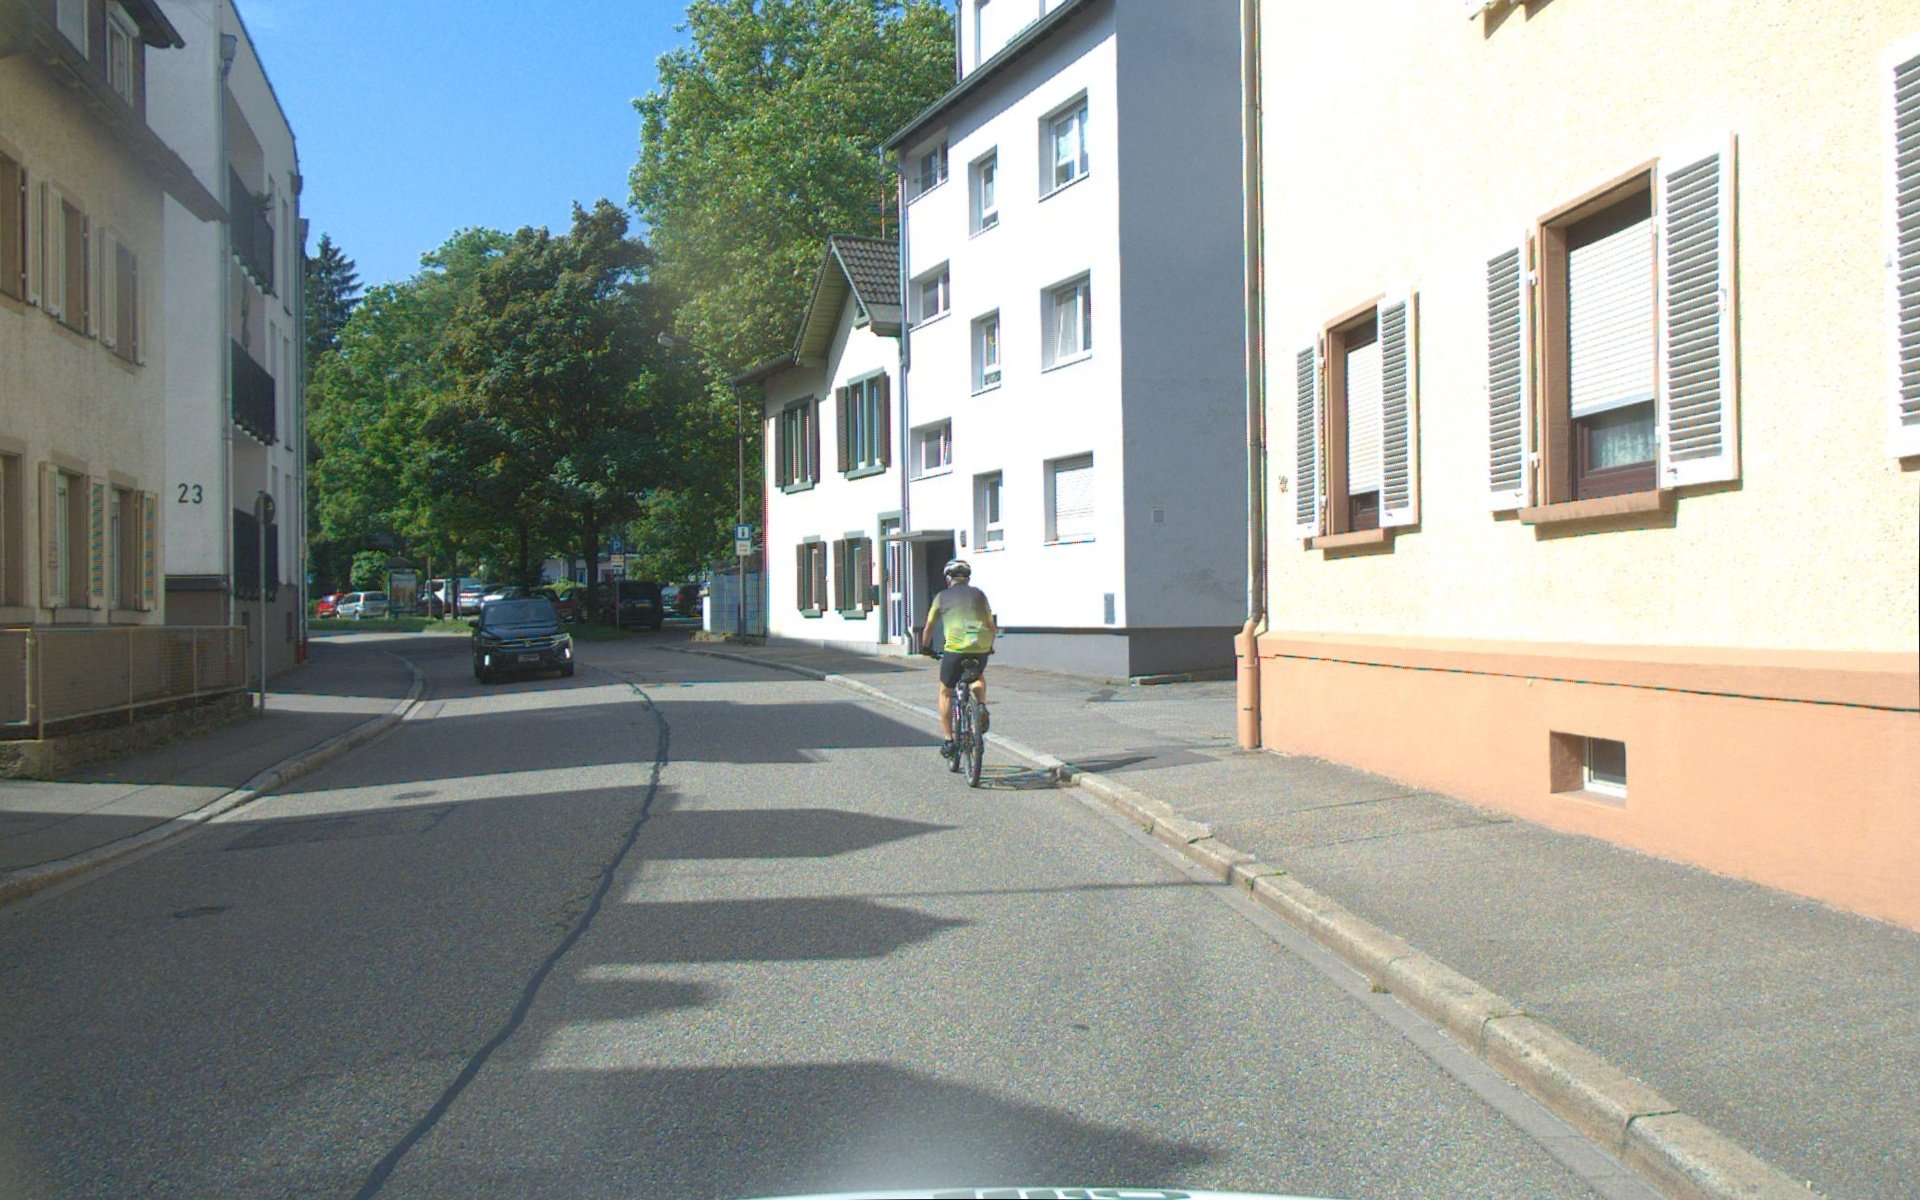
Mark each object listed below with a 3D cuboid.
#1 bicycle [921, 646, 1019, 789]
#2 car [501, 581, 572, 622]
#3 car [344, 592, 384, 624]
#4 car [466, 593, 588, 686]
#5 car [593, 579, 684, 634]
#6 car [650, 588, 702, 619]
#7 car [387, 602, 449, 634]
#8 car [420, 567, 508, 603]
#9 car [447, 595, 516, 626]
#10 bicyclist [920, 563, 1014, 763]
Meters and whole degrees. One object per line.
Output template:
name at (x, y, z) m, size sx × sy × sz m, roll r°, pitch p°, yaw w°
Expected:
bicycle at (0.059, 0.923, 13.443) m, size 0.685 × 1.053 × 1.470 m, roll 0°, pitch 0°, yaw -4°
car at (-17.571, 0.021, 68.593) m, size 1.692 × 1.569 × 3.955 m, roll -2°, pitch 2°, yaw -32°
car at (-30.493, 0.387, 84.569) m, size 1.720 × 1.579 × 3.727 m, roll -1°, pitch 0°, yaw -23°
car at (-8.570, 0.736, 32.544) m, size 1.798 × 1.563 × 3.975 m, roll -5°, pitch 1°, yaw -21°
car at (-11.367, 0.197, 58.271) m, size 1.805 × 1.822 × 3.955 m, roll -2°, pitch 2°, yaw -32°
car at (-12.333, 0.149, 71.615) m, size 1.559 × 1.279 × 3.835 m, roll -2°, pitch 1°, yaw -19°
car at (-26.417, 0.884, 80.556) m, size 1.664 × 1.493 × 3.357 m, roll -1°, pitch 0°, yaw -42°
car at (-27.352, -0.843, 91.356) m, size 1.955 × 1.887 × 4.695 m, roll -1°, pitch 0°, yaw 27°
car at (-25.348, 0.542, 87.757) m, size 1.771 × 1.579 × 4.003 m, roll -1°, pitch 0°, yaw 13°
bicyclist at (0.050, 0.501, 13.481) m, size 0.672 × 1.558 × 0.715 m, roll -2°, pitch -1°, yaw -4°
